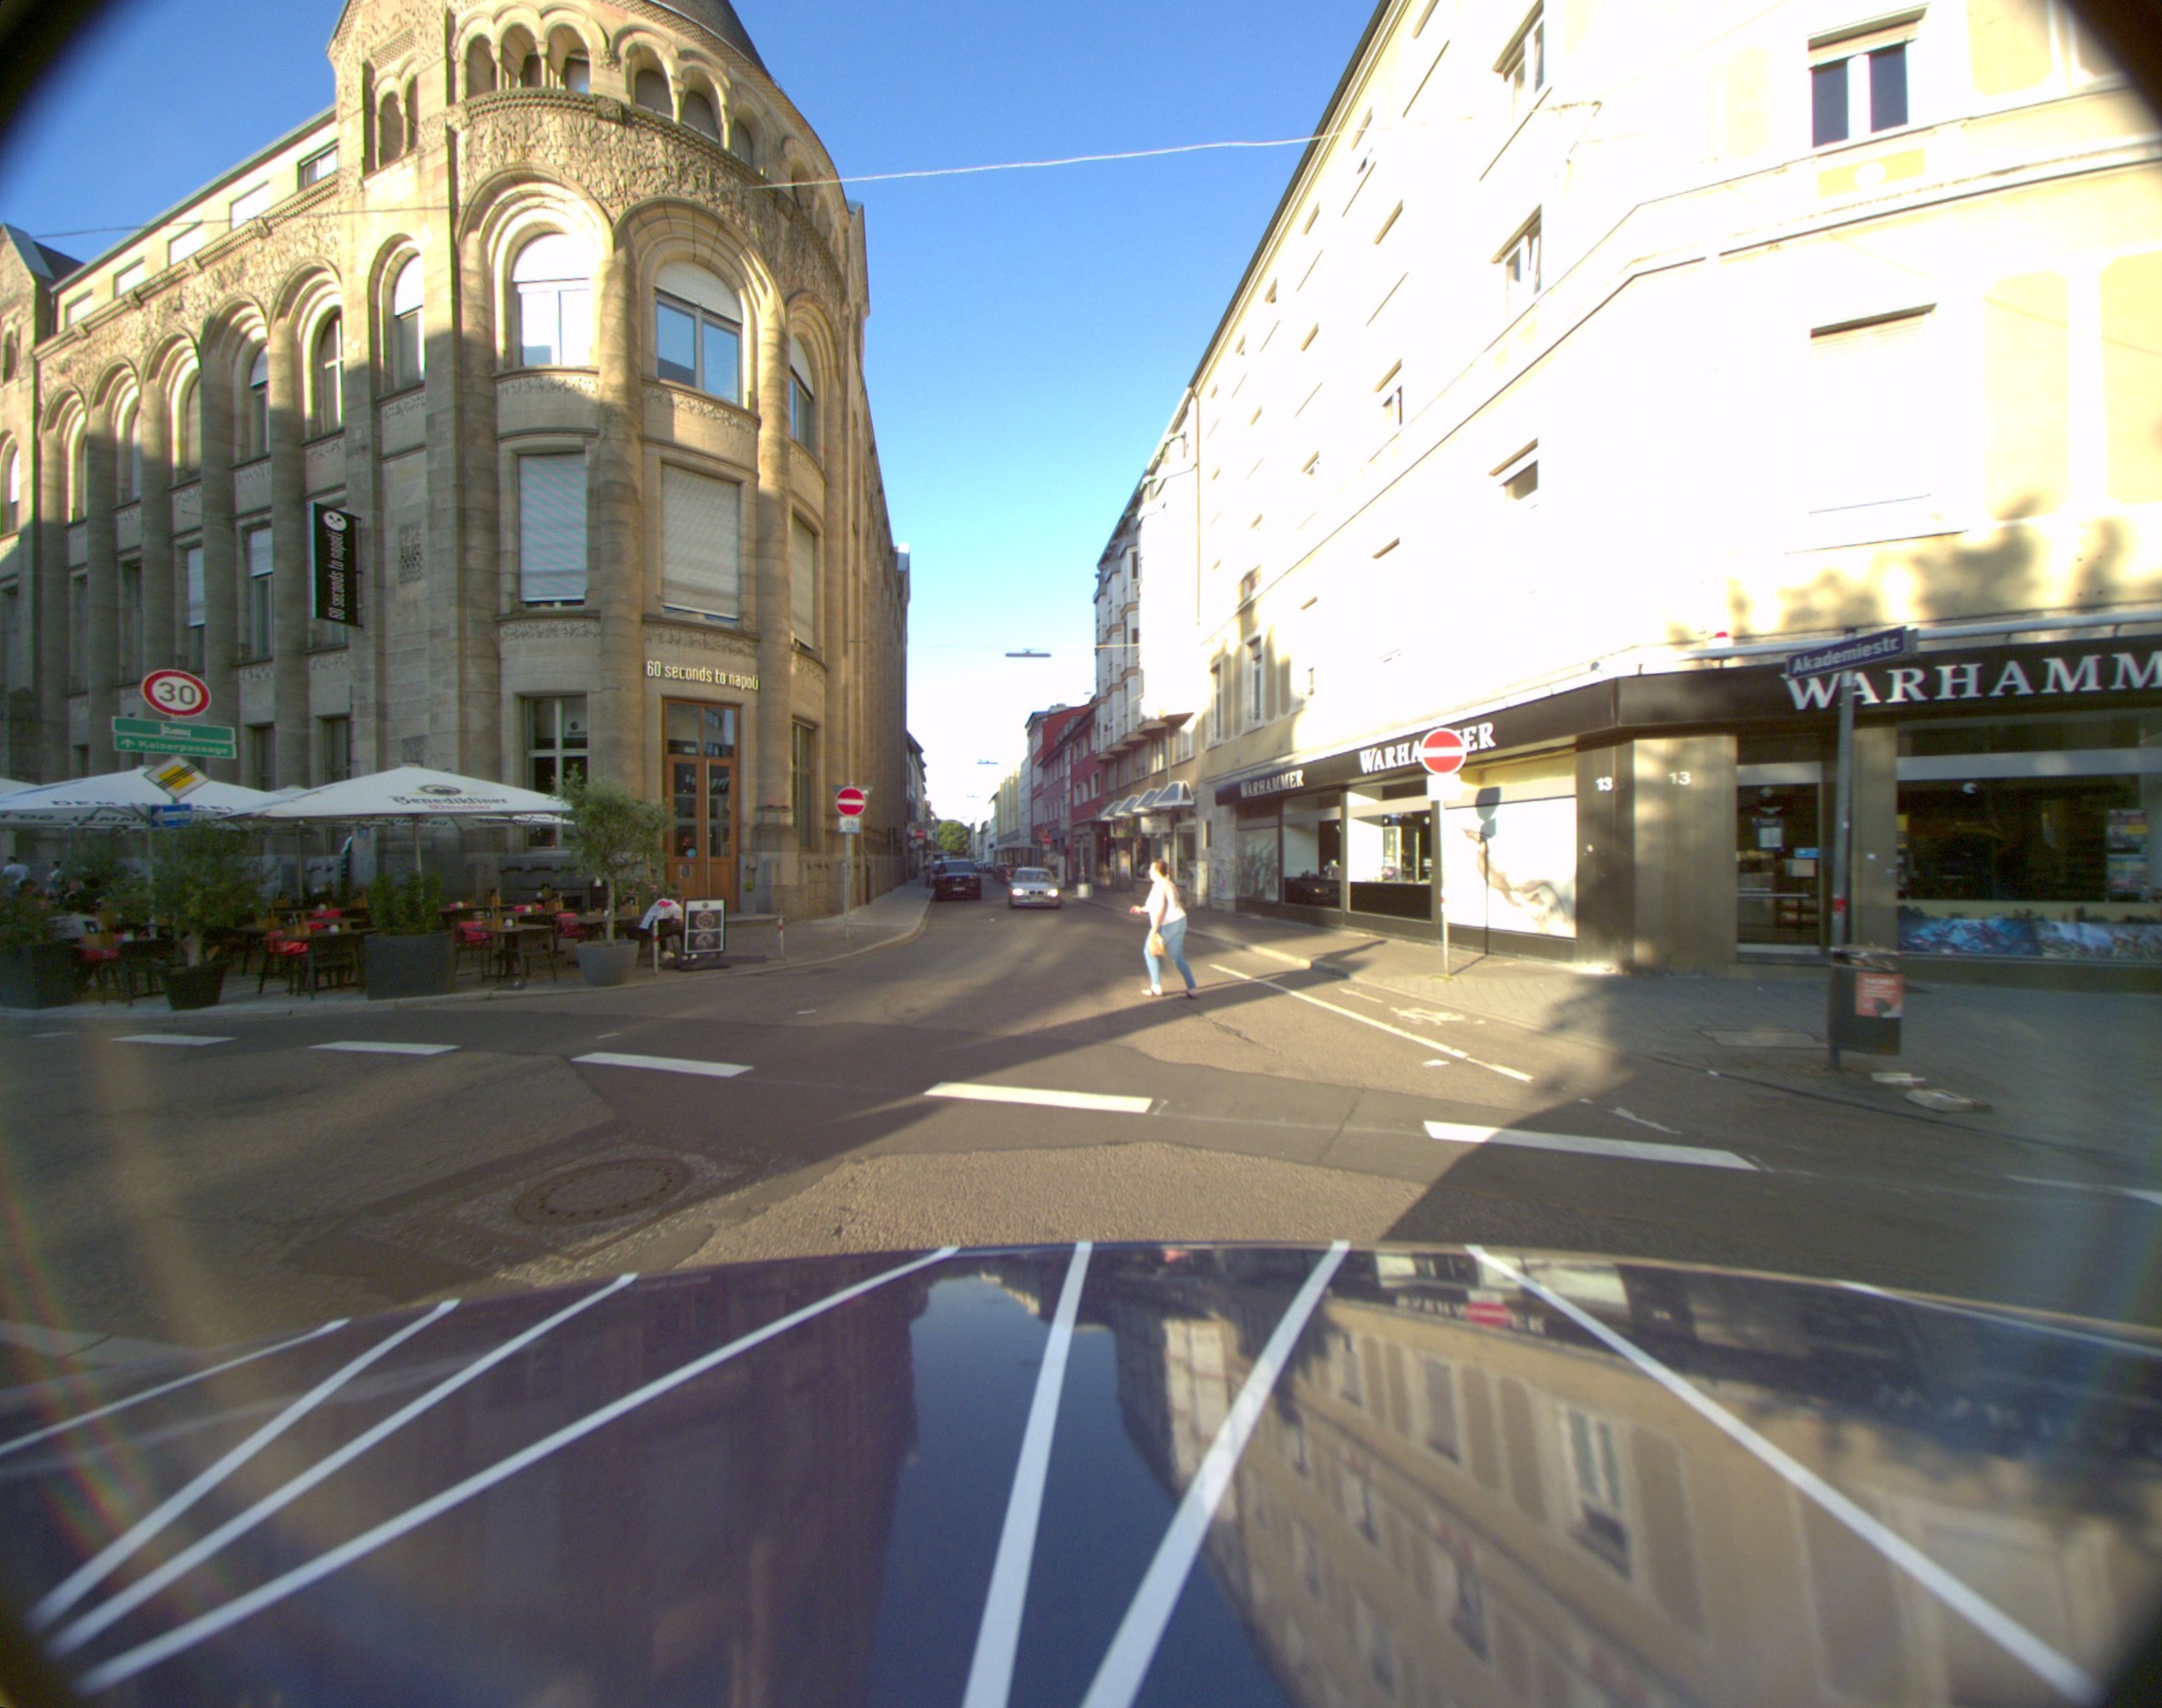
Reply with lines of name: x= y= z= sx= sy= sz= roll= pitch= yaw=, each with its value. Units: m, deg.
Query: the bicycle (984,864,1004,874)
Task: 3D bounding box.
bicycle: x=-10.902 y=1.846 z=95.284 sx=2.482 sy=1.172 sz=0.783 roll=-1 pitch=1 yaw=-4

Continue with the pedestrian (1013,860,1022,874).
pedestrian: x=-5.047 y=1.028 z=60.138 sx=0.612 sy=1.056 sz=0.546 roll=-1 pitch=1 yaw=-18

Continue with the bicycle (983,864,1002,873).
bicycle: x=-11.527 y=1.865 z=99.226 sx=2.482 sy=1.172 sz=0.783 roll=-1 pitch=1 yaw=-4

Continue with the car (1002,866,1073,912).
car: x=-1.647 y=1.191 z=27.121 sx=2.000 sy=1.414 sz=4.454 roll=-1 pitch=0 yaw=-10

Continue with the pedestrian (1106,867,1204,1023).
pedestrian: x=0.823 y=0.964 z=8.459 sx=0.806 sy=1.603 sz=0.732 roll=-1 pitch=1 yaw=-39

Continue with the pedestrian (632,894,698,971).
pedestrian: x=-6.827 y=1.273 z=12.507 sx=0.607 sy=1.181 sz=0.822 roll=-1 pitch=0 yaw=1

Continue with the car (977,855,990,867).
car: x=-17.081 y=1.206 z=133.017 sx=2.000 sy=2.029 sz=4.454 roll=-1 pitch=0 yaw=-10

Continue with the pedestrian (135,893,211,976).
pedestrian: x=-14.447 y=1.262 z=12.089 sx=0.684 sy=1.238 sz=0.602 roll=-1 pitch=0 yaw=25

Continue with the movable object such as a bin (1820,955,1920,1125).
movable object such as a bin: x=5.407 y=1.250 z=5.214 sx=0.360 sy=1.057 sz=0.355 roll=-1 pitch=1 yaw=-20

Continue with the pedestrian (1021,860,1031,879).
pedestrian: x=-4.146 y=1.176 z=57.524 sx=0.612 sy=1.464 sz=0.546 roll=-1 pitch=1 yaw=-18

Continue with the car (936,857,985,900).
car: x=-5.503 y=1.036 z=34.285 sx=2.000 sy=1.773 sz=4.929 roll=-1 pitch=0 yaw=-11

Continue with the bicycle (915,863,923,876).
bicycle: x=-13.714 y=1.321 z=64.284 sx=0.520 sy=1.083 sz=1.750 roll=3 pitch=-1 yaw=-10

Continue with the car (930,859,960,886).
car: x=-8.865 y=1.141 z=49.278 sx=1.780 sy=1.656 sz=3.995 roll=0 pitch=0 yaw=-13

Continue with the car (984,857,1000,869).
car: x=-12.403 y=1.265 z=105.598 sx=2.000 sy=1.666 sz=4.454 roll=-1 pitch=0 yaw=-10

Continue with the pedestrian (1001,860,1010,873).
pedestrian: x=-6.355 y=1.018 z=64.078 sx=0.634 sy=1.061 sz=0.559 roll=-1 pitch=1 yaw=-18

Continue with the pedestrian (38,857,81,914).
pedestrian: x=-31.675 y=0.965 z=23.556 sx=0.628 sy=1.720 sz=0.598 roll=0 pitch=1 yaw=17

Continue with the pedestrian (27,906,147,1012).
pedestrian: x=-12.611 y=1.310 z=9.663 sx=0.686 sy=1.238 sz=0.600 roll=-1 pitch=0 yaw=-19

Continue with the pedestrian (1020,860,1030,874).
pedestrian: x=-4.494 y=1.025 z=60.896 sx=0.603 sy=1.056 sz=0.546 roll=-1 pitch=1 yaw=-18

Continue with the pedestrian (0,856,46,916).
pedestrian: x=-30.902 y=0.916 z=22.161 sx=0.596 sy=1.720 sz=0.630 roll=0 pitch=1 yaw=16

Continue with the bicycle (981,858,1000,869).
bicycle: x=-12.206 y=1.286 z=102.006 sx=2.482 sy=1.322 sz=0.783 roll=-1 pitch=1 yaw=-4

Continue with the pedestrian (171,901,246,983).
pedestrian: x=-13.415 y=1.338 z=11.689 sx=0.572 sy=1.181 sz=0.602 roll=-1 pitch=0 yaw=25

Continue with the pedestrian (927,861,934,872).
pedestrian: x=-17.777 y=1.491 z=89.874 sx=0.737 sy=1.236 sz=0.645 roll=-1 pitch=1 yaw=-8

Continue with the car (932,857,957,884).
car: x=-9.788 y=1.136 z=54.679 sx=1.676 sy=1.796 sz=4.236 roll=-1 pitch=0 yaw=-9
